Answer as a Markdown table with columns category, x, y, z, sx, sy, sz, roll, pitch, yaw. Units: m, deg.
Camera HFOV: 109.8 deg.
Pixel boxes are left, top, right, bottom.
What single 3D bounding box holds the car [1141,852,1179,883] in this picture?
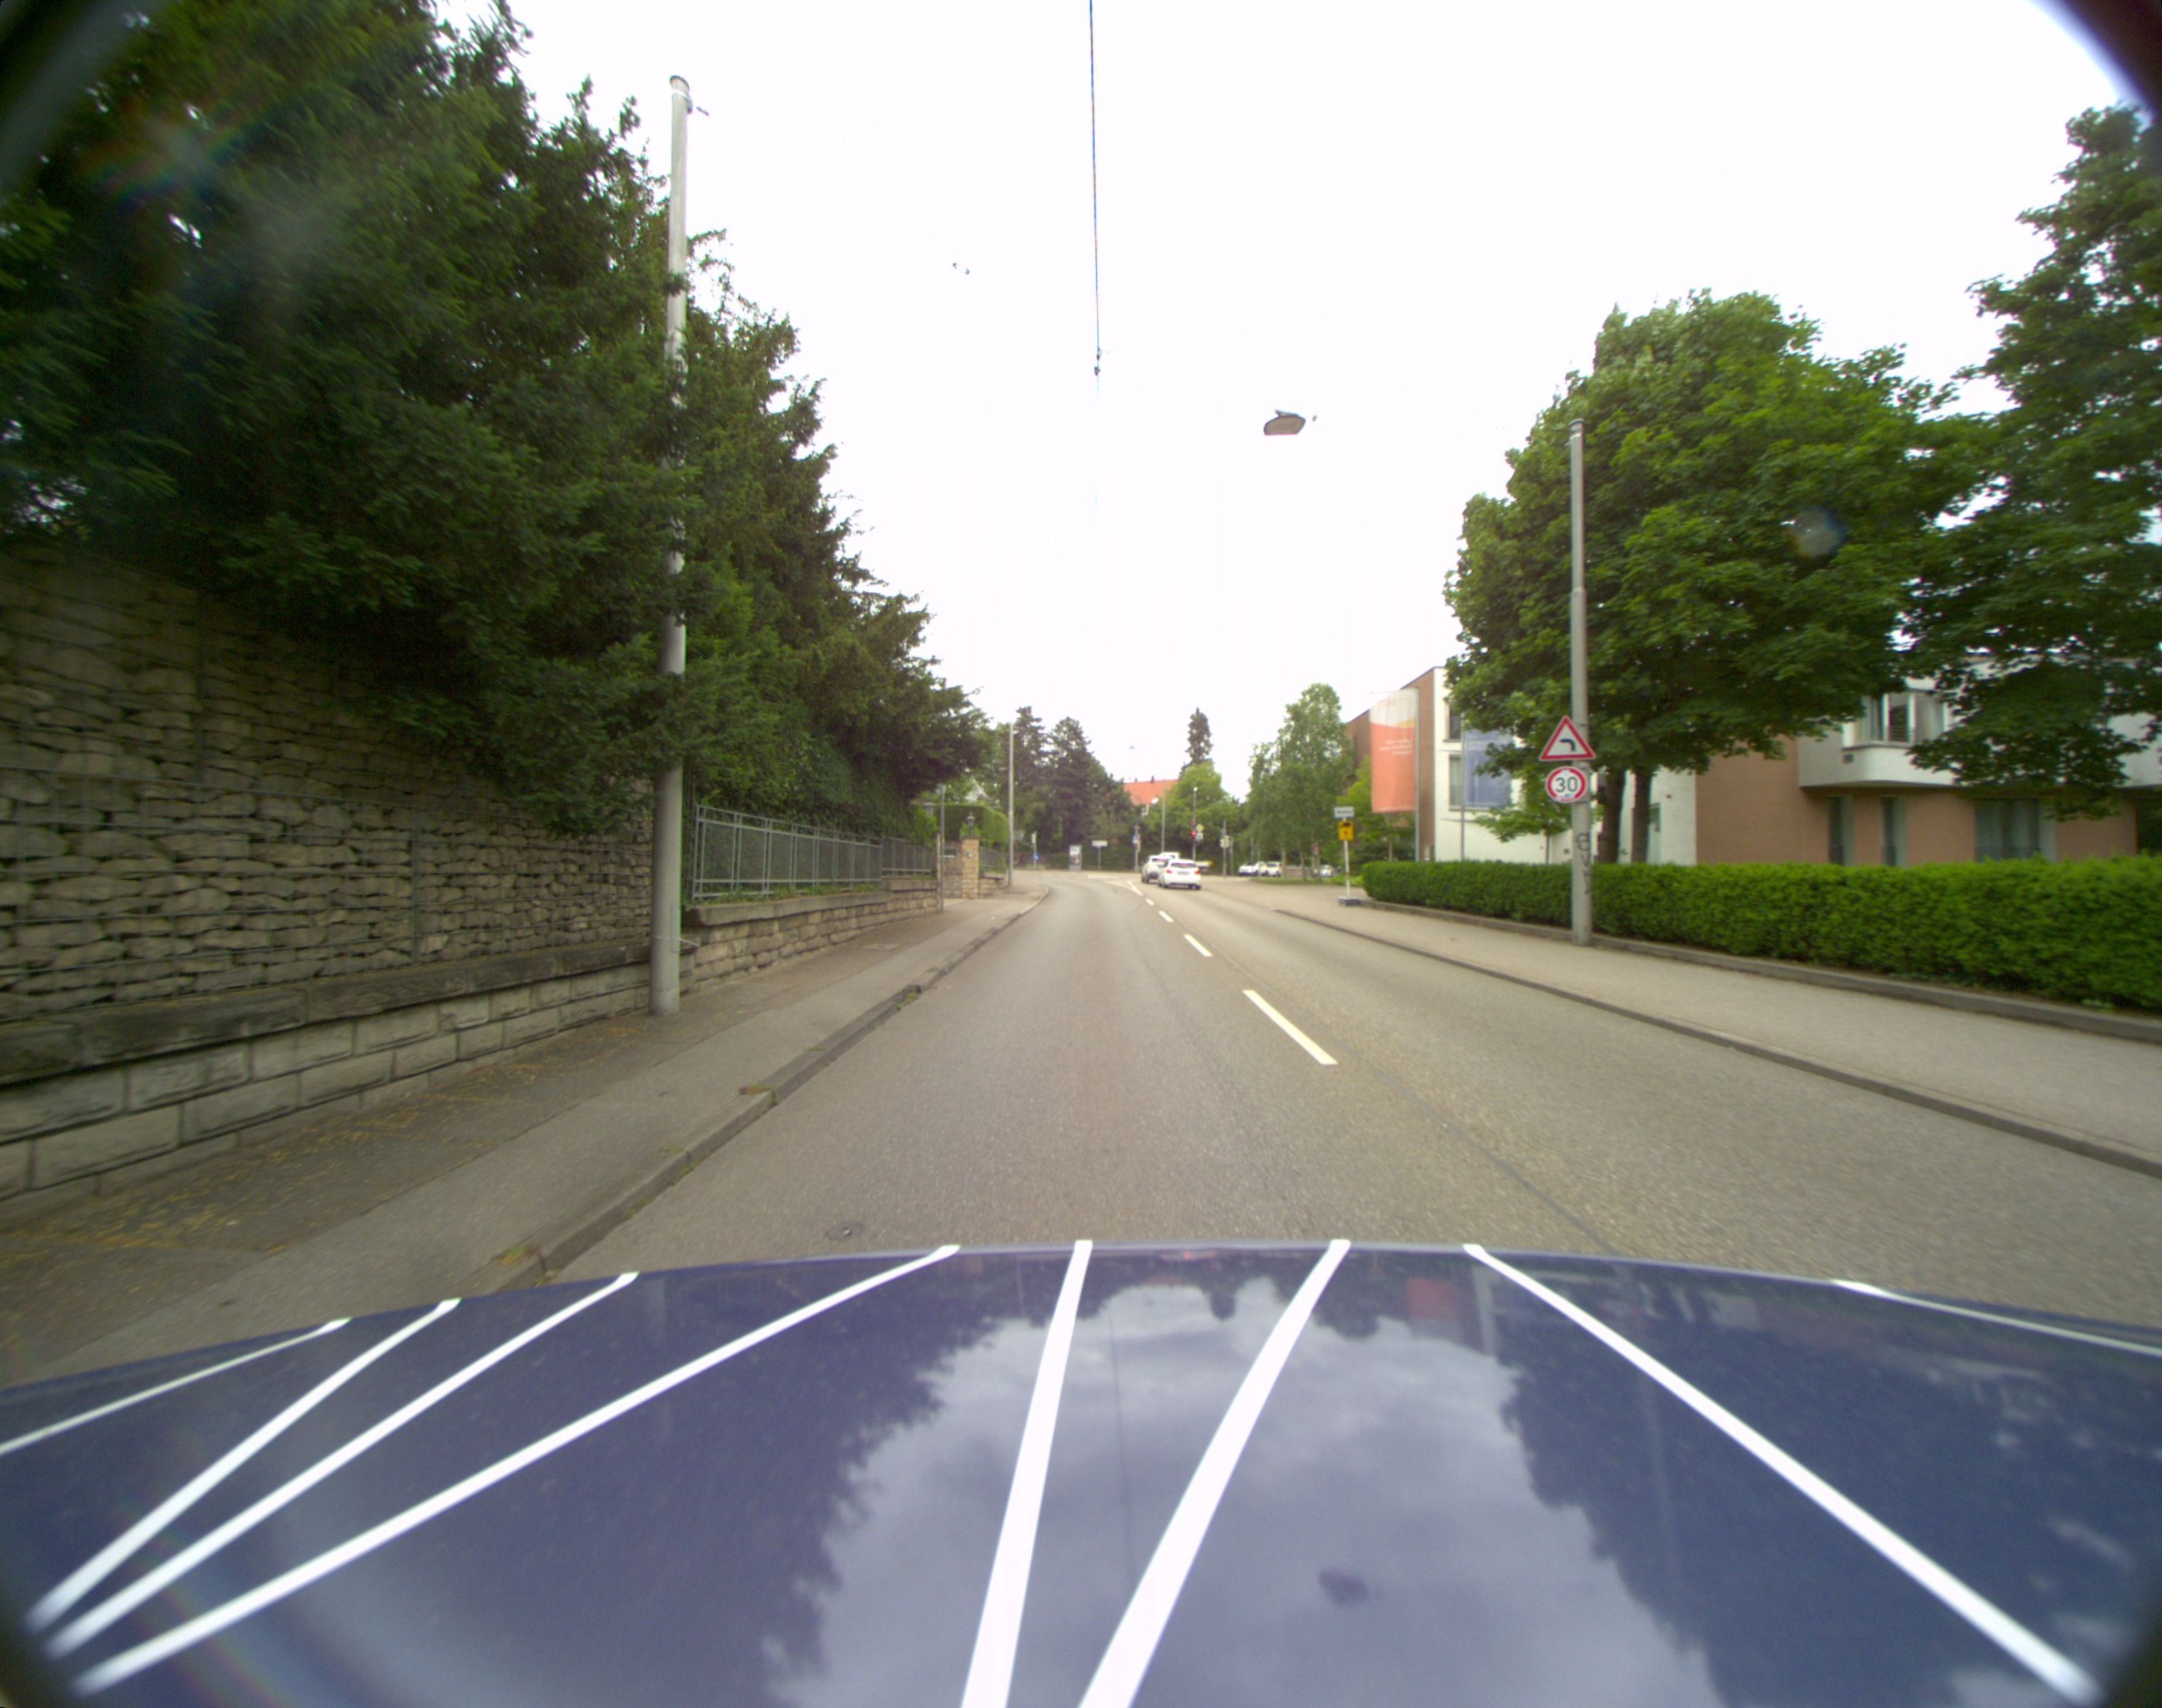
| category | x | y | z | sx | sy | sz | roll | pitch | yaw |
| --- | --- | --- | --- | --- | --- | --- | --- | --- | --- |
| car | 4.523 | 0.765 | 44.199 | 1.773 | 1.628 | 4.302 | 3 | 0 | 1 |

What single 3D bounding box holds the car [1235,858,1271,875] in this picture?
| category | x | y | z | sx | sy | sz | roll | pitch | yaw |
| --- | --- | --- | --- | --- | --- | --- | --- | --- | --- |
| car | 17.746 | 1.310 | 78.199 | 1.994 | 1.603 | 4.009 | 2 | 0 | 40 |

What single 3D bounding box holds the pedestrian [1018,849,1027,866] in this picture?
| category | x | y | z | sx | sy | sz | roll | pitch | yaw |
| --- | --- | --- | --- | --- | --- | --- | --- | --- | --- |
| pedestrian | -6.334 | 0.397 | 81.712 | 0.665 | 1.777 | 0.614 | 2 | 0 | 28 |

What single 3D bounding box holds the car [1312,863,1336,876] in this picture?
| category | x | y | z | sx | sy | sz | roll | pitch | yaw |
| --- | --- | --- | --- | --- | --- | --- | --- | --- | --- |
| car | 32.114 | 2.060 | 100.467 | 1.867 | 1.577 | 3.739 | 1 | 0 | 36 |

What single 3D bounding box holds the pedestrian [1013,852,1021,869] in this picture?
| category | x | y | z | sx | sy | sz | roll | pitch | yaw |
| --- | --- | --- | --- | --- | --- | --- | --- | --- | --- |
| pedestrian | -6.974 | 0.735 | 83.056 | 0.611 | 1.824 | 0.605 | 2 | 0 | 28 |

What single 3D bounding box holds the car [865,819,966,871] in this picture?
| category | x | y | z | sx | sy | sz | roll | pitch | yaw |
| --- | --- | --- | --- | --- | --- | --- | --- | --- | --- |
| car | -7.074 | -0.366 | 32.767 | 3.749 | 1.603 | 1.814 | 9 | 0 | 0 |

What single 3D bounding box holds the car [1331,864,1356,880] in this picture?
| category | x | y | z | sx | sy | sz | roll | pitch | yaw |
| --- | --- | --- | --- | --- | --- | --- | --- | --- | --- |
| car | 26.229 | 1.805 | 75.905 | 1.876 | 1.440 | 4.008 | 2 | 0 | 26 |

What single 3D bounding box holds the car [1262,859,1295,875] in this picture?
| category | x | y | z | sx | sy | sz | roll | pitch | yaw |
| --- | --- | --- | --- | --- | --- | --- | --- | --- | --- |
| car | 21.446 | 1.411 | 82.440 | 1.994 | 1.603 | 4.009 | 2 | 0 | 40 |

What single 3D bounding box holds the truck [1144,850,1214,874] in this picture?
| category | x | y | z | sx | sy | sz | roll | pitch | yaw |
| --- | --- | --- | --- | --- | --- | --- | --- | --- | --- |
| truck | 9.807 | 0.752 | 75.882 | 6.706 | 2.176 | 2.532 | 2 | 1 | 12 |

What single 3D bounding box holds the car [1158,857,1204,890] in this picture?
| category | x | y | z | sx | sy | sz | roll | pitch | yaw |
| --- | --- | --- | --- | --- | --- | --- | --- | --- | --- |
| car | 4.898 | 0.928 | 37.620 | 1.770 | 1.413 | 4.065 | 2 | 0 | 1 |
